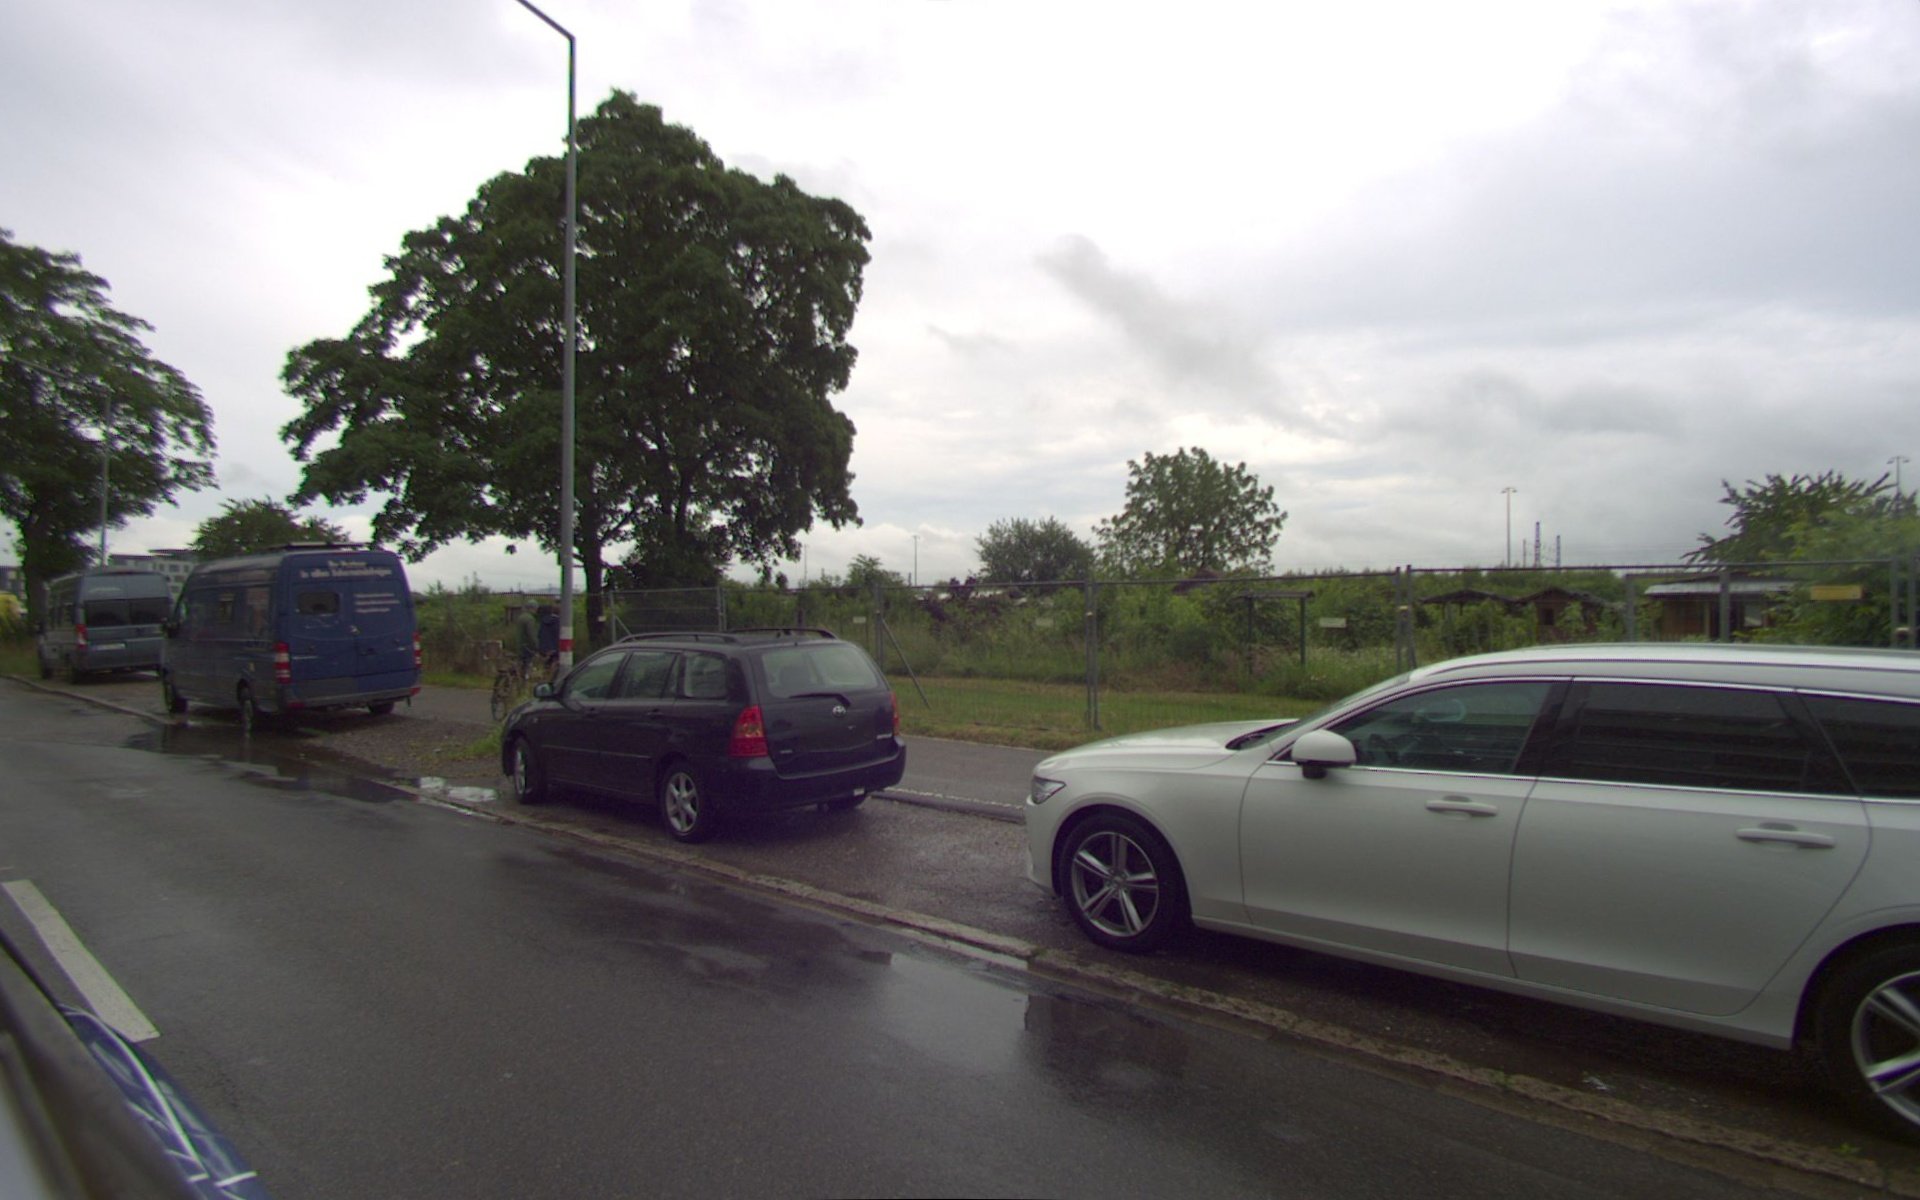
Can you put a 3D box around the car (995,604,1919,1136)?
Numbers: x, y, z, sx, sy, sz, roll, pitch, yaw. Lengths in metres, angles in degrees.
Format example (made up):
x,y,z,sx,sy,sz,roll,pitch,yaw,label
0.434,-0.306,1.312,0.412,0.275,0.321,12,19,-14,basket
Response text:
x,y,z,sx,sy,sz,roll,pitch,yaw,label
2.725,0.798,4.217,5.105,1.537,1.868,-1,-1,40,car

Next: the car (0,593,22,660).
x,y,z,sx,sy,sz,roll,pitch,yaw,label
-41.649,1.134,42.955,6.081,2.714,2.168,-1,1,43,car

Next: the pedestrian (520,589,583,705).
x,y,z,sx,sy,sz,roll,pitch,yaw,label
-7.369,0.824,18.237,0.853,2.029,0.712,-1,0,40,pedestrian

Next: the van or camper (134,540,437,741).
x,y,z,sx,sy,sz,roll,pitch,yaw,label
-11.542,0.532,16.965,7.567,2.736,2.074,0,1,39,van or camper

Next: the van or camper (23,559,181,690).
x,y,z,sx,sy,sz,roll,pitch,yaw,label
-22.838,0.559,26.831,6.419,3.117,2.074,0,1,40,van or camper

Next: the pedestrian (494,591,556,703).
x,y,z,sx,sy,sz,roll,pitch,yaw,label
-8.149,0.849,18.958,0.900,2.029,0.730,-1,0,40,pedestrian

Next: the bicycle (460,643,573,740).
x,y,z,sx,sy,sz,roll,pitch,yaw,label
-6.139,1.201,13.911,0.686,1.159,2.685,-1,-1,-40,bicycle

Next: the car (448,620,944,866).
x,y,z,sx,sy,sz,roll,pitch,yaw,label
-2.517,0.962,8.765,4.825,1.514,1.755,-1,1,41,car
